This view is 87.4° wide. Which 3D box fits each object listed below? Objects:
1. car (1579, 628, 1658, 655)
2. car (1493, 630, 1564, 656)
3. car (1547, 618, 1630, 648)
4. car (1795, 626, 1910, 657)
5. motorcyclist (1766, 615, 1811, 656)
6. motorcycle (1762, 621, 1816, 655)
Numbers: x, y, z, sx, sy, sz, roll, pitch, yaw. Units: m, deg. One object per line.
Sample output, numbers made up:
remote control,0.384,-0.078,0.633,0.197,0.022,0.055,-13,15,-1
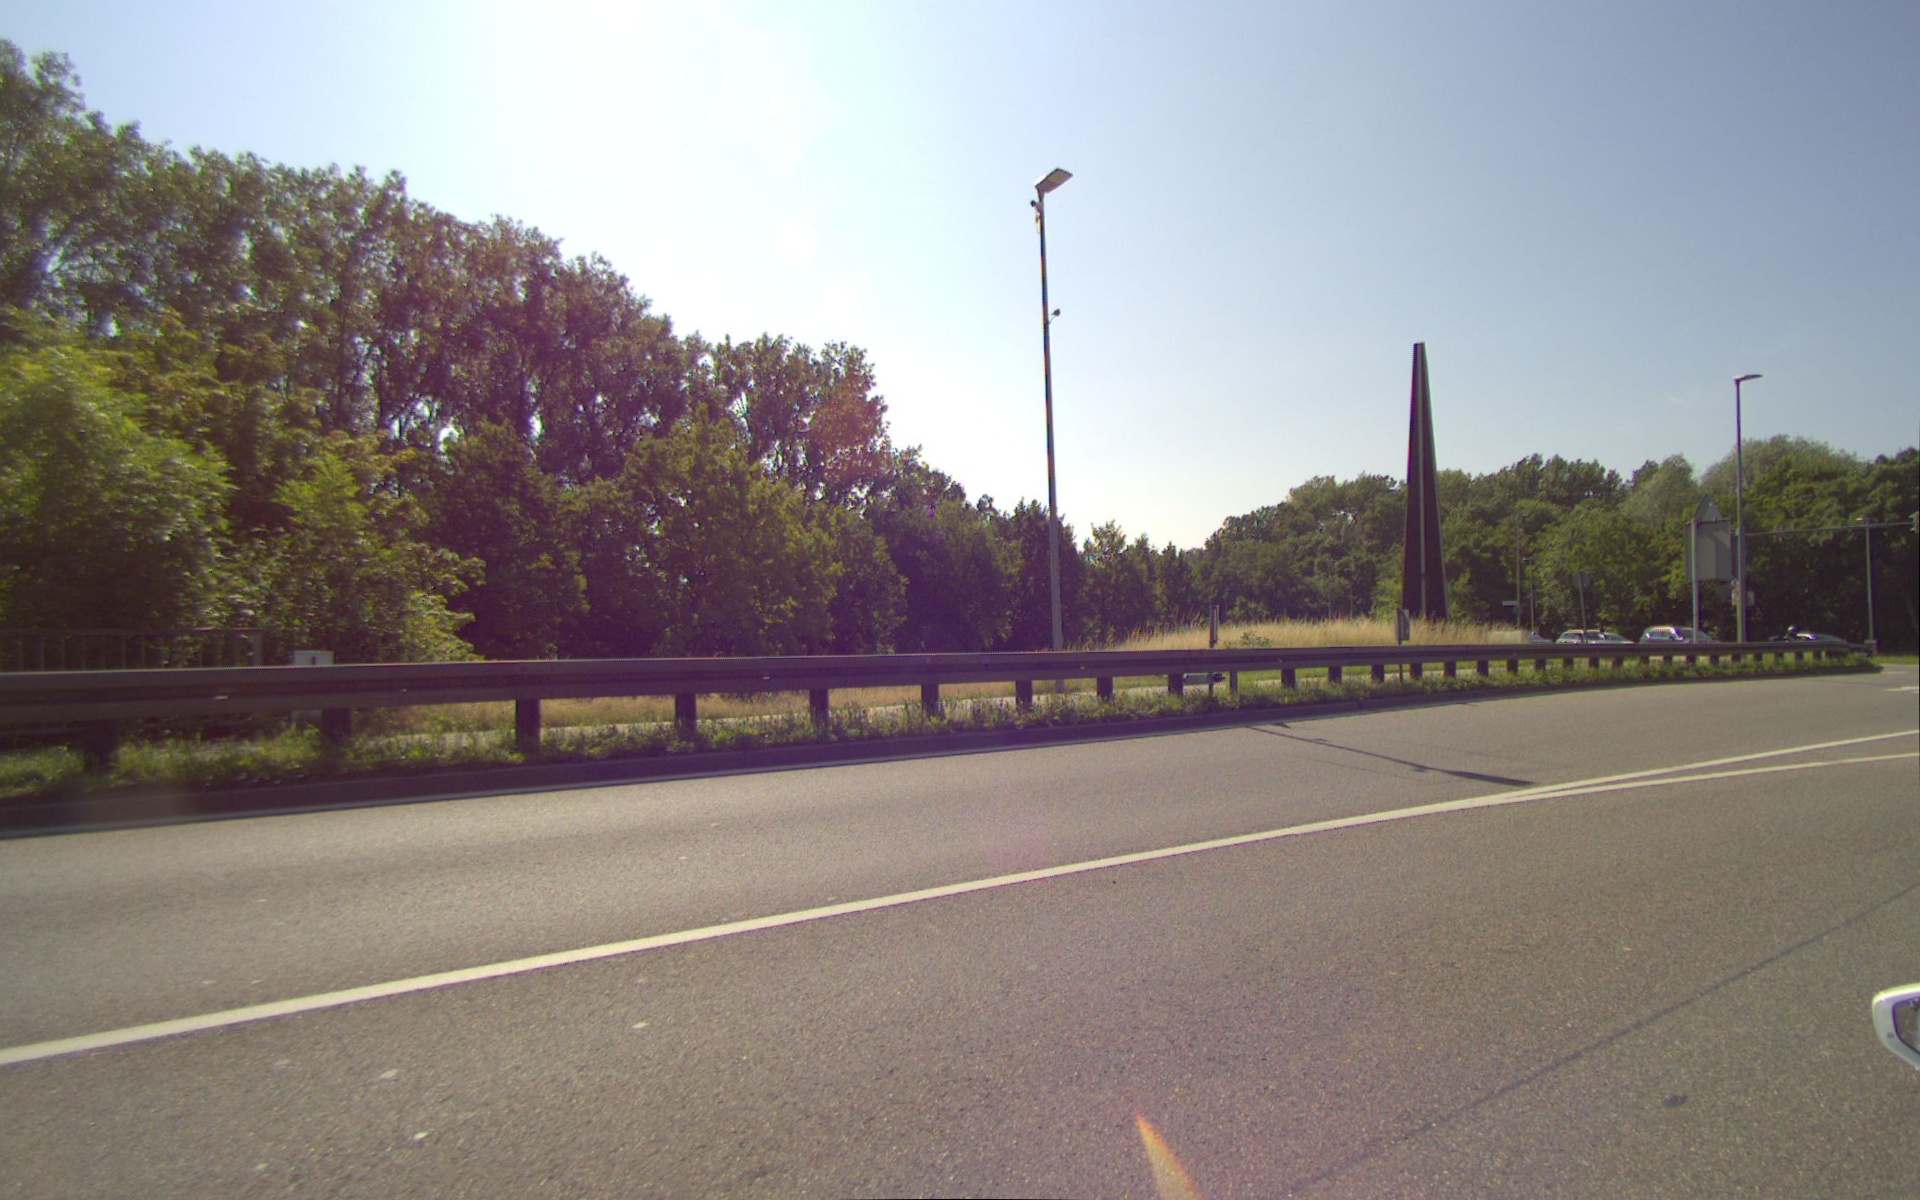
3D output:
car,39.720,2.538,60.674,2.082,1.406,4.001,3,-4,-1
car,35.544,2.699,62.888,1.883,1.406,4.399,3,-4,-1
car,35.531,1.897,56.910,1.883,1.406,4.399,3,-4,-1
car,42.916,2.012,48.422,1.916,1.237,4.001,3,-5,-2
motorcyclist,40.357,1.729,48.937,0.875,1.894,1.464,2,-4,-4
motorcycle,40.348,1.881,48.898,0.882,1.548,1.983,2,-5,-4
